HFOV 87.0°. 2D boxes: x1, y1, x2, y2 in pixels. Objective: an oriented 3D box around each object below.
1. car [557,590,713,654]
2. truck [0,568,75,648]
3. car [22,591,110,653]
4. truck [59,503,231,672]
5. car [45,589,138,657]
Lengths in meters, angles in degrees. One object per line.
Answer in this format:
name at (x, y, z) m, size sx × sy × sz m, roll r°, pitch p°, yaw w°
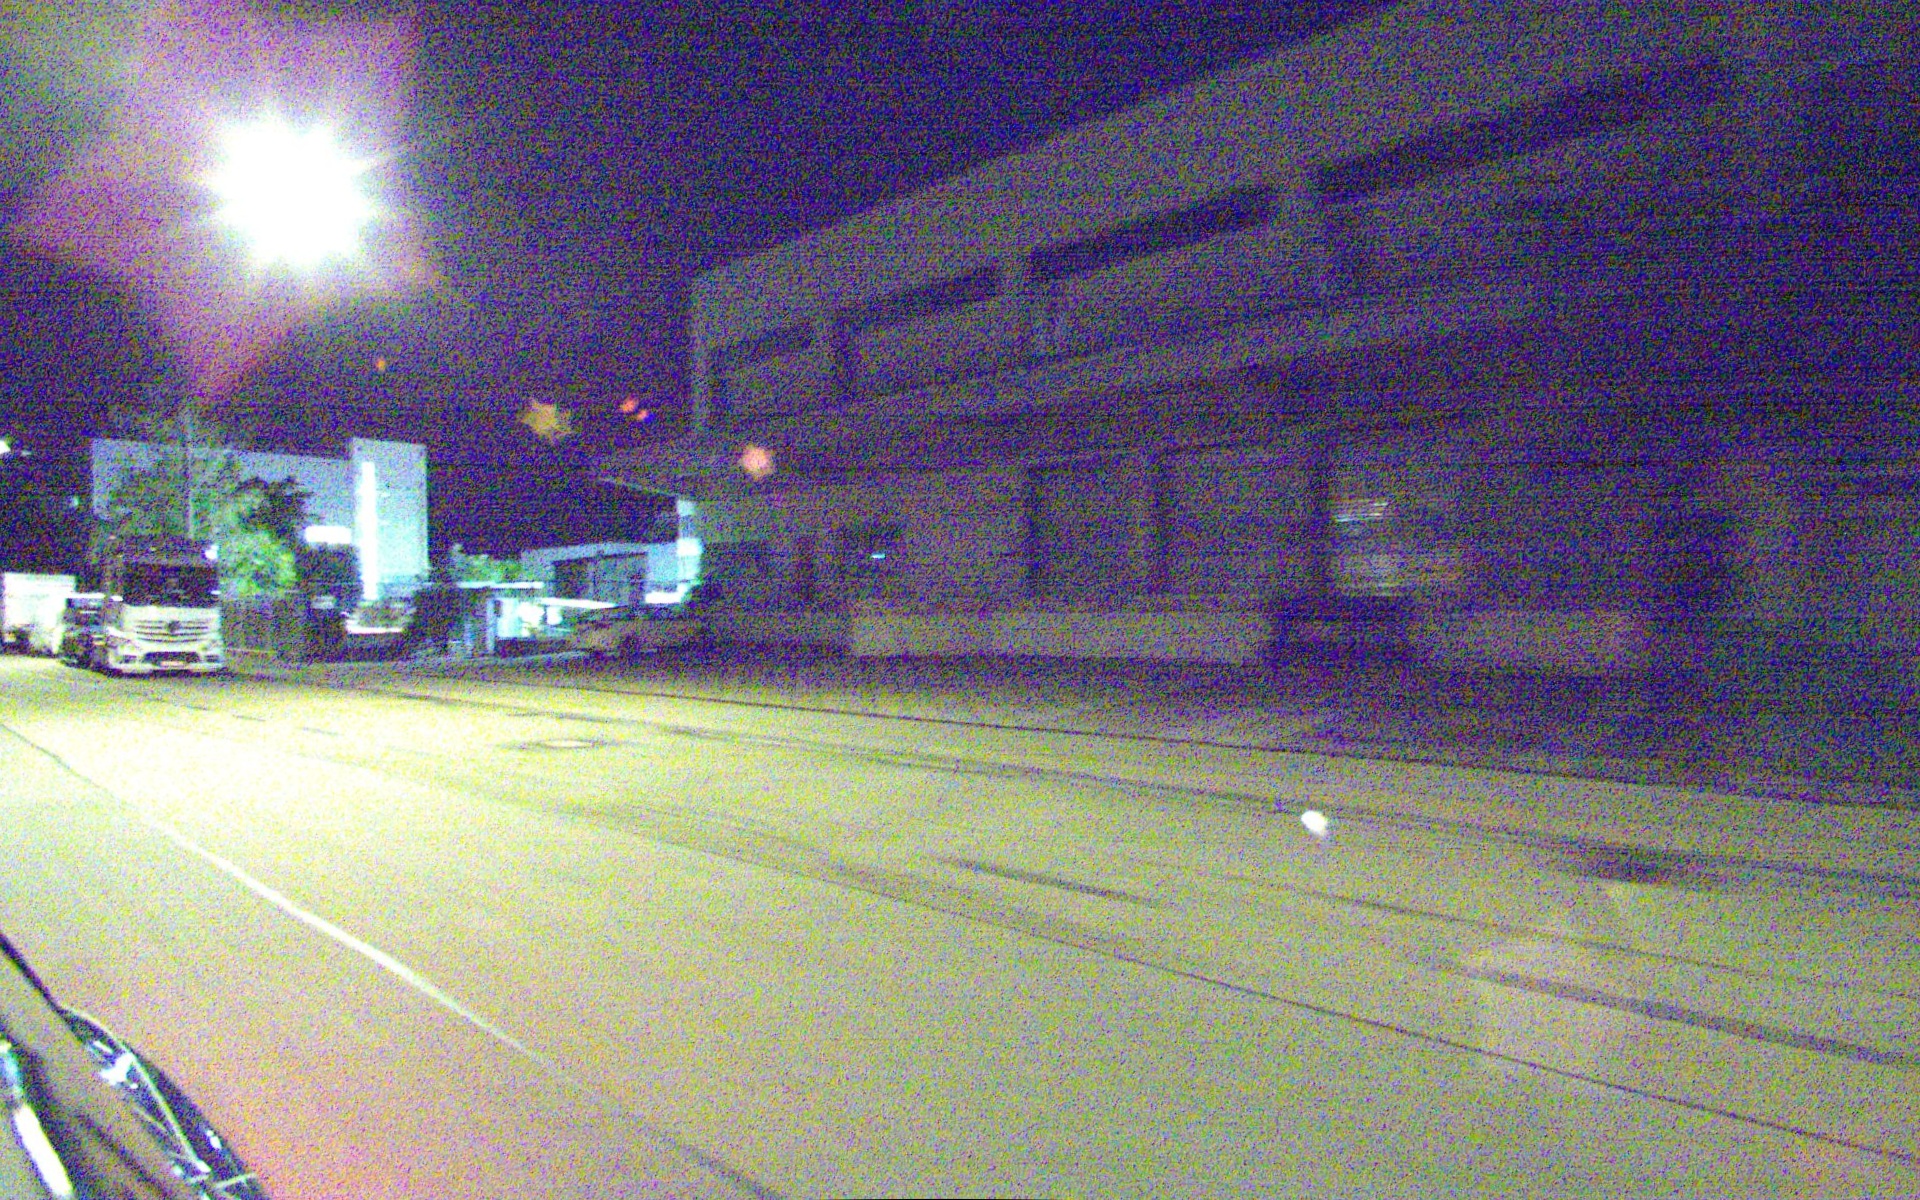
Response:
car at (-9.476, 0.600, 29.735) m, size 1.804 × 1.474 × 3.949 m, roll -1°, pitch 3°, yaw 39°
truck at (-46.843, 0.426, 49.978) m, size 10.387 × 3.659 × 2.795 m, roll -1°, pitch 0°, yaw 38°
car at (-38.199, 0.912, 43.172) m, size 5.740 × 2.461 × 1.973 m, roll -1°, pitch 0°, yaw 40°
truck at (-25.662, -0.281, 31.492) m, size 12.828 × 4.347 × 2.608 m, roll 0°, pitch -1°, yaw 44°
car at (-32.269, 0.816, 37.572) m, size 4.468 × 2.330 × 2.116 m, roll -1°, pitch 0°, yaw 43°
